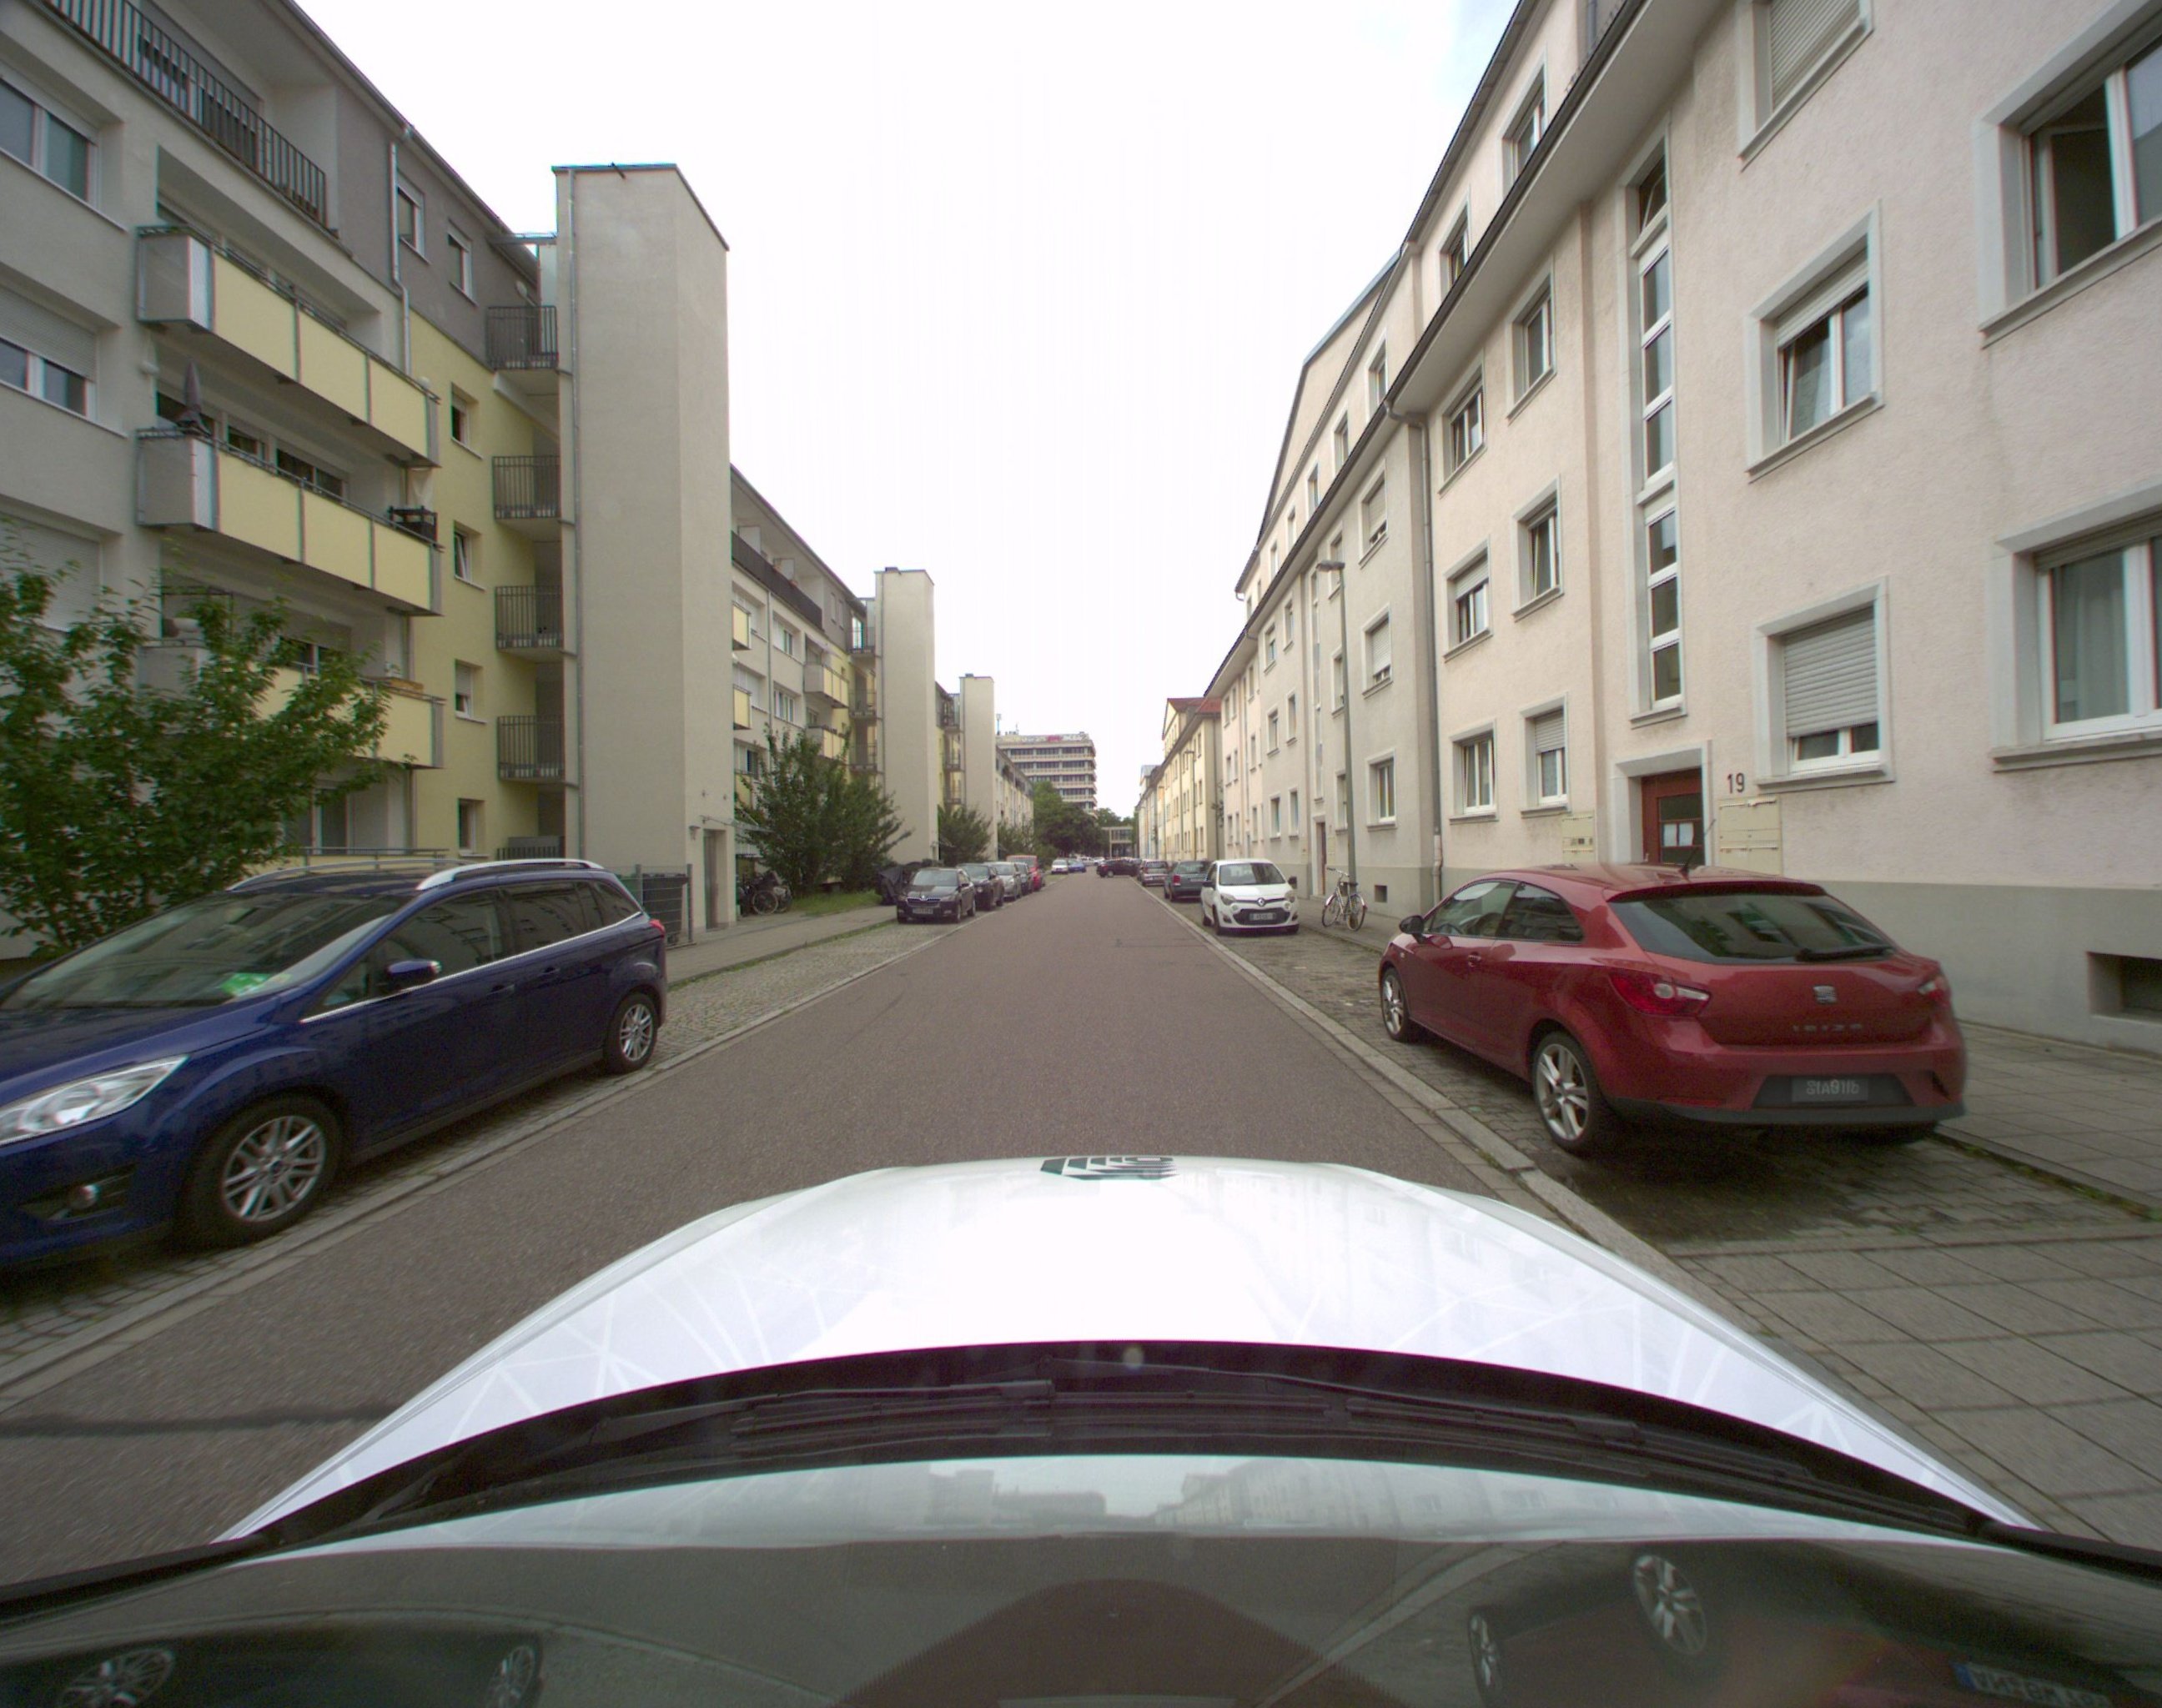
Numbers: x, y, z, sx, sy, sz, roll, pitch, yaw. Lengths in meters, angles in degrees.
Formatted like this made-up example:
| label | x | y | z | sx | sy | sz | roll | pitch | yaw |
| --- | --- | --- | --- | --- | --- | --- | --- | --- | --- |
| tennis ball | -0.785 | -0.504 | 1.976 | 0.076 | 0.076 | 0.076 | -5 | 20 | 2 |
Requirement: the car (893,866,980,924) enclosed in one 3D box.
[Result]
| label | x | y | z | sx | sy | sz | roll | pitch | yaw |
| --- | --- | --- | --- | --- | --- | --- | --- | --- | --- |
| car | -3.982 | 1.090 | 22.982 | 1.637 | 1.438 | 3.858 | 0 | -1 | 2 |

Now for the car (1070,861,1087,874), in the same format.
| label | x | y | z | sx | sy | sz | roll | pitch | yaw |
| --- | --- | --- | --- | --- | --- | --- | --- | --- | --- |
| car | -0.286 | 1.630 | 96.956 | 1.837 | 1.451 | 4.504 | -1 | 0 | 3 |

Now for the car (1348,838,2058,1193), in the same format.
| label | x | y | z | sx | sy | sz | roll | pitch | yaw |
| --- | --- | --- | --- | --- | --- | --- | --- | --- | --- |
| car | 3.285 | 0.698 | 5.436 | 1.747 | 1.409 | 3.938 | -4 | 0 | 2 |

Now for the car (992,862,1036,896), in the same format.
| label | x | y | z | sx | sy | sz | roll | pitch | yaw |
| --- | --- | --- | --- | --- | --- | --- | --- | --- | --- |
| car | -3.211 | 1.165 | 39.727 | 1.714 | 1.570 | 4.055 | 0 | -1 | 2 |

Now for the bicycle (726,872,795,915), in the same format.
| label | x | y | z | sx | sy | sz | roll | pitch | yaw |
| --- | --- | --- | --- | --- | --- | --- | --- | --- | --- |
| bicycle | -9.211 | 1.131 | 23.467 | 1.718 | 1.142 | 0.608 | -1 | -1 | -3 |

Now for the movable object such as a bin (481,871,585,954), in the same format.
| label | x | y | z | sx | sy | sz | roll | pitch | yaw |
| --- | --- | --- | --- | --- | --- | --- | --- | --- | --- |
| movable object such as a bin | -10.140 | 1.055 | 15.133 | 0.998 | 1.447 | 1.315 | -1 | -1 | 2 |

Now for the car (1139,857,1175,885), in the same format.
| label | x | y | z | sx | sy | sz | roll | pitch | yaw |
| --- | --- | --- | --- | --- | --- | --- | --- | --- | --- |
| car | 4.248 | 0.934 | 46.106 | 1.719 | 1.492 | 4.062 | -2 | 0 | 1 |

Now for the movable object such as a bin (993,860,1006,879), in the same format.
| label | x | y | z | sx | sy | sz | roll | pitch | yaw |
| --- | --- | --- | --- | --- | --- | --- | --- | --- | --- |
| movable object such as a bin | -6.257 | 1.173 | 62.565 | 0.800 | 1.429 | 1.290 | 0 | -1 | 5 |

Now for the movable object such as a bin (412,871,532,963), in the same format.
| label | x | y | z | sx | sy | sz | roll | pitch | yaw |
| --- | --- | --- | --- | --- | --- | --- | --- | --- | --- |
| movable object such as a bin | -10.197 | 1.027 | 13.707 | 0.998 | 1.447 | 1.315 | -1 | -1 | 2 |

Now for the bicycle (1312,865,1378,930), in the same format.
| label | x | y | z | sx | sy | sz | roll | pitch | yaw |
| --- | --- | --- | --- | --- | --- | --- | --- | --- | --- |
| bicycle | 5.075 | 0.801 | 15.804 | 0.603 | 1.140 | 2.125 | -2 | -1 | 1 |

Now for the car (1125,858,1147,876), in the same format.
| label | x | y | z | sx | sy | sz | roll | pitch | yaw |
| --- | --- | --- | --- | --- | --- | --- | --- | --- | --- |
| car | 4.975 | 1.181 | 73.778 | 1.719 | 1.517 | 4.062 | -2 | 0 | 1 |

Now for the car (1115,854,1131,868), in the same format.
| label | x | y | z | sx | sy | sz | roll | pitch | yaw |
| --- | --- | --- | --- | --- | --- | --- | --- | --- | --- |
| car | 5.260 | 0.890 | 101.926 | 1.813 | 1.642 | 4.093 | -3 | 0 | 2 |

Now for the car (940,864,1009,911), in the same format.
| label | x | y | z | sx | sy | sz | roll | pitch | yaw |
| --- | --- | --- | --- | --- | --- | --- | --- | --- | --- |
| car | -3.664 | 1.114 | 28.607 | 1.646 | 1.530 | 3.899 | 0 | -1 | 4 |

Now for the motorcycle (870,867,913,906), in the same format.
| label | x | y | z | sx | sy | sz | roll | pitch | yaw |
| --- | --- | --- | --- | --- | --- | --- | --- | --- | --- |
| motorcycle | -6.676 | 1.110 | 28.781 | 0.866 | 1.307 | 2.421 | 0 | 0 | 2 |

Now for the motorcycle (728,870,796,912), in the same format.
| label | x | y | z | sx | sy | sz | roll | pitch | yaw |
| --- | --- | --- | --- | --- | --- | --- | --- | --- | --- |
| motorcycle | -9.425 | 1.083 | 24.099 | 1.745 | 1.129 | 0.593 | -2 | 0 | -3 |

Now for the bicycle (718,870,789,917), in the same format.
| label | x | y | z | sx | sy | sz | roll | pitch | yaw |
| --- | --- | --- | --- | --- | --- | --- | --- | --- | --- |
| bicycle | -9.163 | 1.096 | 22.832 | 1.718 | 1.225 | 0.608 | -2 | -1 | -3 |

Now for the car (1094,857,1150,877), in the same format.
| label | x | y | z | sx | sy | sz | roll | pitch | yaw |
| --- | --- | --- | --- | --- | --- | --- | --- | --- | --- |
| car | 3.362 | 1.047 | 66.903 | 4.219 | 1.433 | 1.903 | -2 | 0 | -10 |

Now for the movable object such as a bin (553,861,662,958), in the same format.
| label | x | y | z | sx | sy | sz | roll | pitch | yaw |
| --- | --- | --- | --- | --- | --- | --- | --- | --- | --- |
| movable object such as a bin | -7.765 | 0.875 | 13.423 | 0.998 | 1.501 | 1.315 | -1 | -1 | 2 |

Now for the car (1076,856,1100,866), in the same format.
| label | x | y | z | sx | sy | sz | roll | pitch | yaw |
| --- | --- | --- | --- | --- | --- | --- | --- | --- | --- |
| car | 1.333 | 1.419 | 158.138 | 4.314 | 1.790 | 1.860 | -2 | 0 | -5 |

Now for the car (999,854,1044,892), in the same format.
| label | x | y | z | sx | sy | sz | roll | pitch | yaw |
| --- | --- | --- | --- | --- | --- | --- | --- | --- | --- |
| car | -3.238 | 1.031 | 44.979 | 2.145 | 1.954 | 4.920 | 1 | -1 | -1 |

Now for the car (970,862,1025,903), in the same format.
| label | x | y | z | sx | sy | sz | roll | pitch | yaw |
| --- | --- | --- | --- | --- | --- | --- | --- | --- | --- |
| car | -3.462 | 1.143 | 34.572 | 1.829 | 1.570 | 4.860 | 1 | 0 | -1 |

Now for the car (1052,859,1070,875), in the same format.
| label | x | y | z | sx | sy | sz | roll | pitch | yaw |
| --- | --- | --- | --- | --- | --- | --- | --- | --- | --- |
| car | -2.203 | 1.444 | 91.615 | 1.950 | 1.770 | 4.360 | 0 | 0 | -1 |

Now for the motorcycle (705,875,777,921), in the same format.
| label | x | y | z | sx | sy | sz | roll | pitch | yaw |
| --- | --- | --- | --- | --- | --- | --- | --- | --- | --- |
| motorcycle | -9.213 | 1.184 | 22.092 | 1.611 | 1.129 | 0.690 | -2 | 0 | -2 |

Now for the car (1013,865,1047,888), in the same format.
| label | x | y | z | sx | sy | sz | roll | pitch | yaw |
| --- | --- | --- | --- | --- | --- | --- | --- | --- | --- |
| car | -3.154 | 1.374 | 51.035 | 1.864 | 1.323 | 4.361 | 0 | -1 | 0 |

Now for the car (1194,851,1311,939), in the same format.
| label | x | y | z | sx | sy | sz | roll | pitch | yaw |
| --- | --- | --- | --- | --- | --- | --- | --- | --- | --- |
| car | 3.486 | 0.780 | 17.205 | 1.776 | 1.599 | 3.807 | -2 | 0 | 3 |

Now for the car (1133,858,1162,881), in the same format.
| label | x | y | z | sx | sy | sz | roll | pitch | yaw |
| --- | --- | --- | --- | --- | --- | --- | --- | --- | --- |
| car | 4.552 | 1.047 | 56.364 | 1.719 | 1.517 | 4.062 | -2 | 0 | 1 |

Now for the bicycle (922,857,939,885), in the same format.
| label | x | y | z | sx | sy | sz | roll | pitch | yaw |
| --- | --- | --- | --- | --- | --- | --- | --- | --- | --- |
| bicycle | -6.680 | 0.759 | 36.090 | 0.551 | 1.192 | 1.725 | -2 | -1 | -6 |

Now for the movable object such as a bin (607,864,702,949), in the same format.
| label | x | y | z | sx | sy | sz | roll | pitch | yaw |
| --- | --- | --- | --- | --- | --- | --- | --- | --- | --- |
| movable object such as a bin | -7.699 | 0.916 | 14.762 | 0.998 | 1.447 | 1.315 | -1 | -1 | 2 |

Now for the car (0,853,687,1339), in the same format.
| label | x | y | z | sx | sy | sz | roll | pitch | yaw |
| --- | --- | --- | --- | --- | --- | --- | --- | --- | --- |
| car | -4.454 | 0.827 | 4.985 | 1.793 | 1.627 | 4.473 | 0 | 0 | 2 |

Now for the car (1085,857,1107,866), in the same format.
| label | x | y | z | sx | sy | sz | roll | pitch | yaw |
| --- | --- | --- | --- | --- | --- | --- | --- | --- | --- |
| car | 2.959 | 1.405 | 161.419 | 4.188 | 1.652 | 1.893 | -2 | 0 | -6 |

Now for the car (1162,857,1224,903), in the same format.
| label | x | y | z | sx | sy | sz | roll | pitch | yaw |
| --- | --- | --- | --- | --- | --- | --- | --- | --- | --- |
| car | 3.960 | 0.874 | 29.343 | 1.719 | 1.469 | 4.265 | -2 | 0 | 1 |

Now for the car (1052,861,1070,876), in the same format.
| label | x | y | z | sx | sy | sz | roll | pitch | yaw |
| --- | --- | --- | --- | --- | --- | --- | --- | --- | --- |
| car | -2.097 | 1.497 | 85.774 | 1.714 | 1.570 | 3.871 | 0 | -1 | 2 |
